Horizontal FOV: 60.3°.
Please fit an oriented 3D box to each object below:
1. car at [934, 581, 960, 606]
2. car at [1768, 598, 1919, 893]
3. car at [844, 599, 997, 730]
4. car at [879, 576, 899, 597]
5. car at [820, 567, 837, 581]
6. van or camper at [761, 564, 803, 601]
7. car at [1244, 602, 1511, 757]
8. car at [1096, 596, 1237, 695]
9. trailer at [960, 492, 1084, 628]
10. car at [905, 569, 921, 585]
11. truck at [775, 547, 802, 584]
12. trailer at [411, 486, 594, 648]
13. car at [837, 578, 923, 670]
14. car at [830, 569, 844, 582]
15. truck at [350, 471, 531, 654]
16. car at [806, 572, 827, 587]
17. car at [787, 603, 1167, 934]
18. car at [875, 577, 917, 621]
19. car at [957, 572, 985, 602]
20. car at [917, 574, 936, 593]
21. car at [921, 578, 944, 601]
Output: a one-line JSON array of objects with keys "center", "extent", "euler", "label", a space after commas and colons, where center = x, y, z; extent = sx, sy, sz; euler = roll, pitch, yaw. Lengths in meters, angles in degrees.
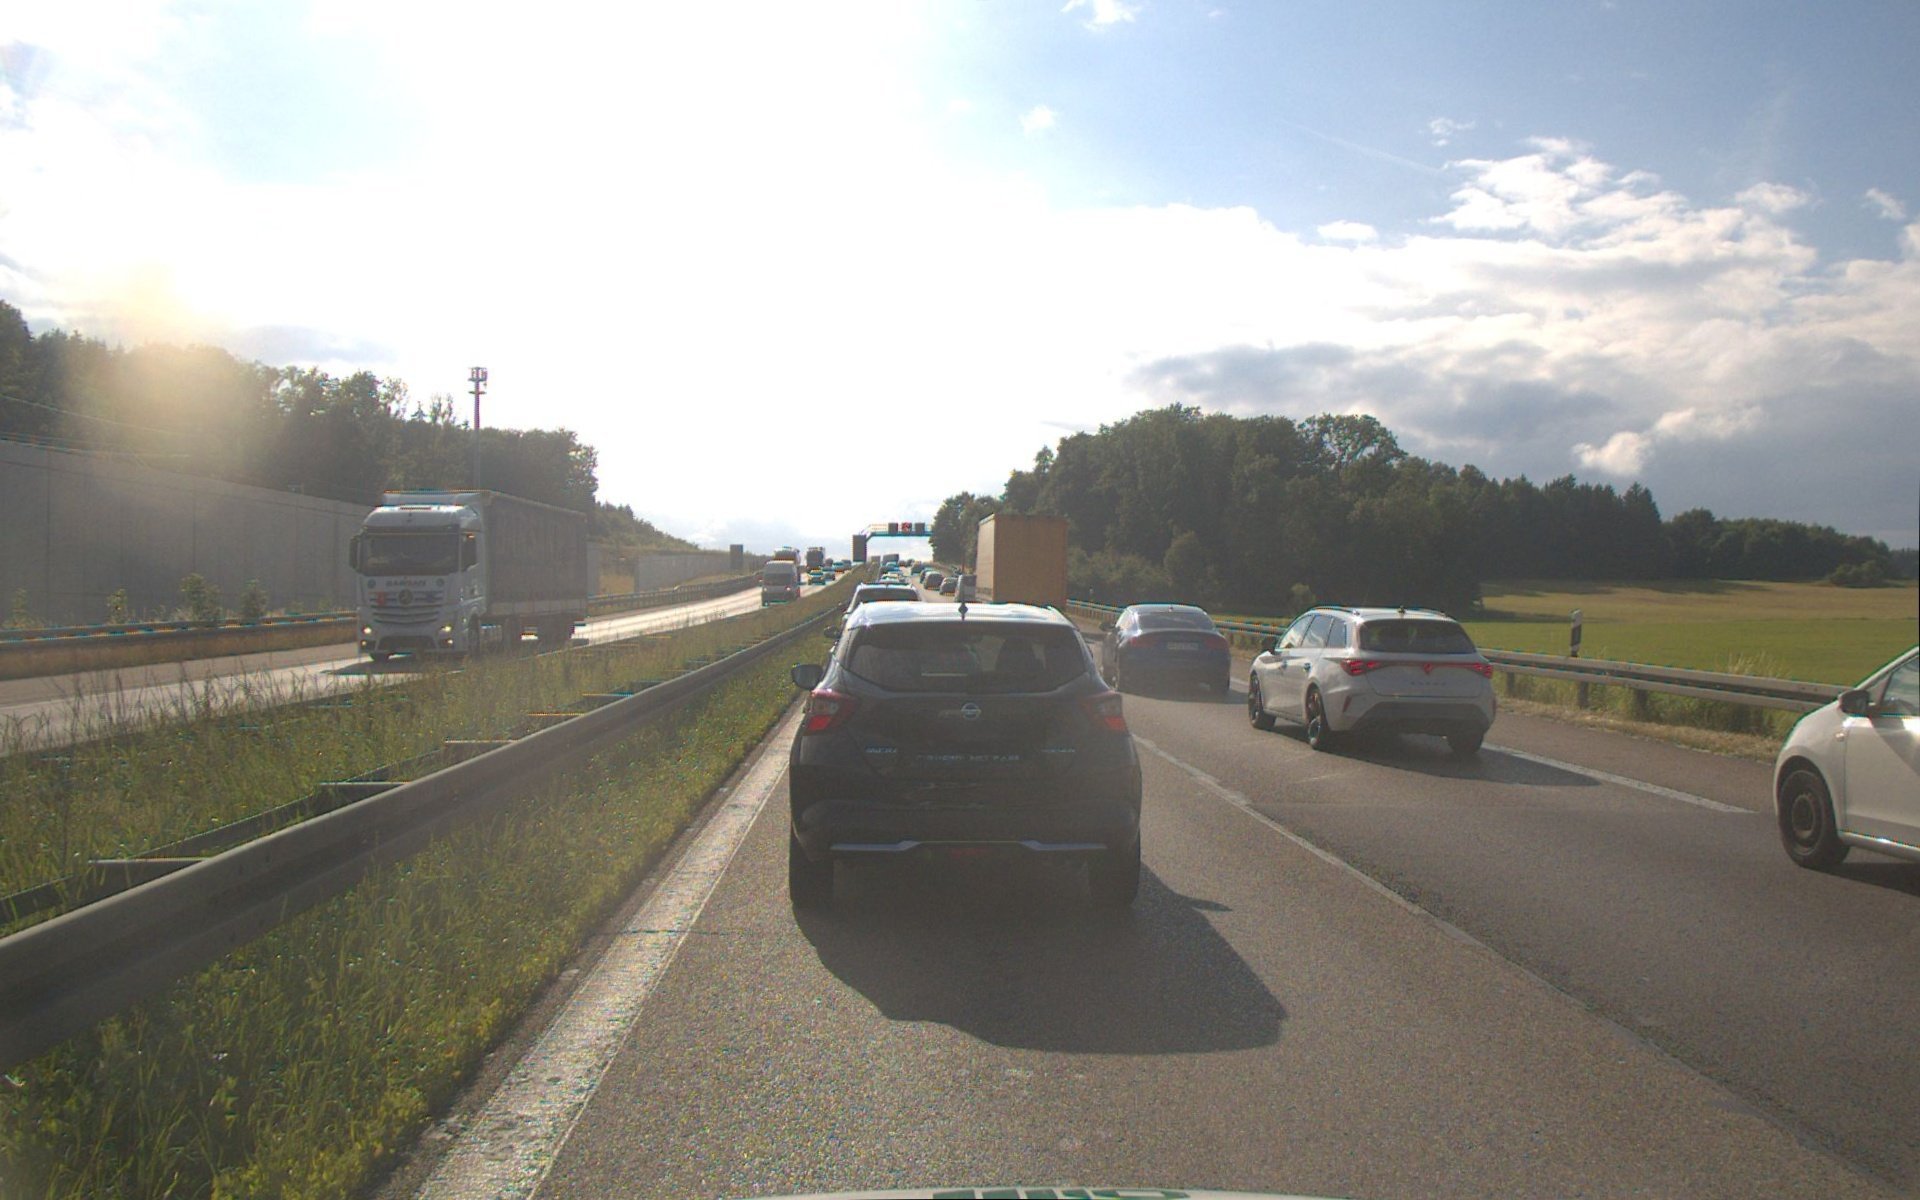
[{"center": [-1.084, -0.496, 139.435], "extent": [1.954, 2.049, 3.997], "euler": [1, 0, -3], "label": "car"}, {"center": [5.780, 0.780, 8.411], "extent": [1.518, 1.521, 3.375], "euler": [1, 1, -4], "label": "car"}, {"center": [-0.470, 0.709, 19.746], "extent": [1.640, 1.391, 3.595], "euler": [1, 0, -1], "label": "car"}, {"center": [-7.313, -1.351, 169.468], "extent": [1.954, 2.049, 3.997], "euler": [1, 0, -3], "label": "car"}, {"center": [-16.024, -3.151, 201.282], "extent": [1.767, 1.543, 4.689], "euler": [1, 0, -1], "label": "car"}, {"center": [-11.452, -1.078, 106.944], "extent": [2.122, 2.244, 6.257], "euler": [1, 0, -1], "label": "van or camper"}, {"center": [4.366, 0.773, 17.930], "extent": [1.588, 1.471, 4.143], "euler": [1, 0, -4], "label": "car"}, {"center": [3.343, 0.708, 27.476], "extent": [1.712, 1.501, 4.145], "euler": [1, 0, -1], "label": "car"}, {"center": [2.105, -1.314, 62.215], "extent": [3.478, 4.535, 12.714], "euler": [1, 0, -3], "label": "trailer"}, {"center": [-6.391, -3.128, 224.739], "extent": [1.954, 2.049, 3.997], "euler": [1, 0, -3], "label": "car"}, {"center": [-18.811, -3.792, 181.235], "extent": [2.501, 3.865, 5.415], "euler": [-1, 0, -2], "label": "truck"}, {"center": [-13.213, -0.837, 49.053], "extent": [2.601, 4.152, 12.388], "euler": [1, 0, -3], "label": "trailer"}, {"center": [-1.597, 0.466, 33.820], "extent": [1.640, 1.756, 3.595], "euler": [1, 0, -1], "label": "car"}, {"center": [-18.649, -3.768, 250.514], "extent": [1.822, 1.866, 4.279], "euler": [1, 0, -2], "label": "car"}, {"center": [-12.852, -0.844, 41.557], "extent": [2.585, 4.169, 6.998], "euler": [1, 0, -3], "label": "truck"}, {"center": [-15.211, -2.179, 175.481], "extent": [1.953, 1.512, 4.397], "euler": [1, 0, -1], "label": "car"}, {"center": [0.056, 0.761, 9.062], "extent": [1.675, 1.451, 3.377], "euler": [1, 0, -1], "label": "car"}, {"center": [-3.155, -0.052, 80.924], "extent": [1.954, 2.049, 3.997], "euler": [1, 0, -3], "label": "car"}, {"center": [0.665, -0.770, 100.906], "extent": [1.633, 1.785, 3.326], "euler": [1, 0, -1], "label": "car"}, {"center": [-3.698, -1.826, 183.421], "extent": [1.954, 2.049, 3.997], "euler": [1, 0, -3], "label": "car"}, {"center": [-2.628, -0.978, 157.799], "extent": [1.954, 2.049, 3.997], "euler": [1, 0, -3], "label": "car"}]
